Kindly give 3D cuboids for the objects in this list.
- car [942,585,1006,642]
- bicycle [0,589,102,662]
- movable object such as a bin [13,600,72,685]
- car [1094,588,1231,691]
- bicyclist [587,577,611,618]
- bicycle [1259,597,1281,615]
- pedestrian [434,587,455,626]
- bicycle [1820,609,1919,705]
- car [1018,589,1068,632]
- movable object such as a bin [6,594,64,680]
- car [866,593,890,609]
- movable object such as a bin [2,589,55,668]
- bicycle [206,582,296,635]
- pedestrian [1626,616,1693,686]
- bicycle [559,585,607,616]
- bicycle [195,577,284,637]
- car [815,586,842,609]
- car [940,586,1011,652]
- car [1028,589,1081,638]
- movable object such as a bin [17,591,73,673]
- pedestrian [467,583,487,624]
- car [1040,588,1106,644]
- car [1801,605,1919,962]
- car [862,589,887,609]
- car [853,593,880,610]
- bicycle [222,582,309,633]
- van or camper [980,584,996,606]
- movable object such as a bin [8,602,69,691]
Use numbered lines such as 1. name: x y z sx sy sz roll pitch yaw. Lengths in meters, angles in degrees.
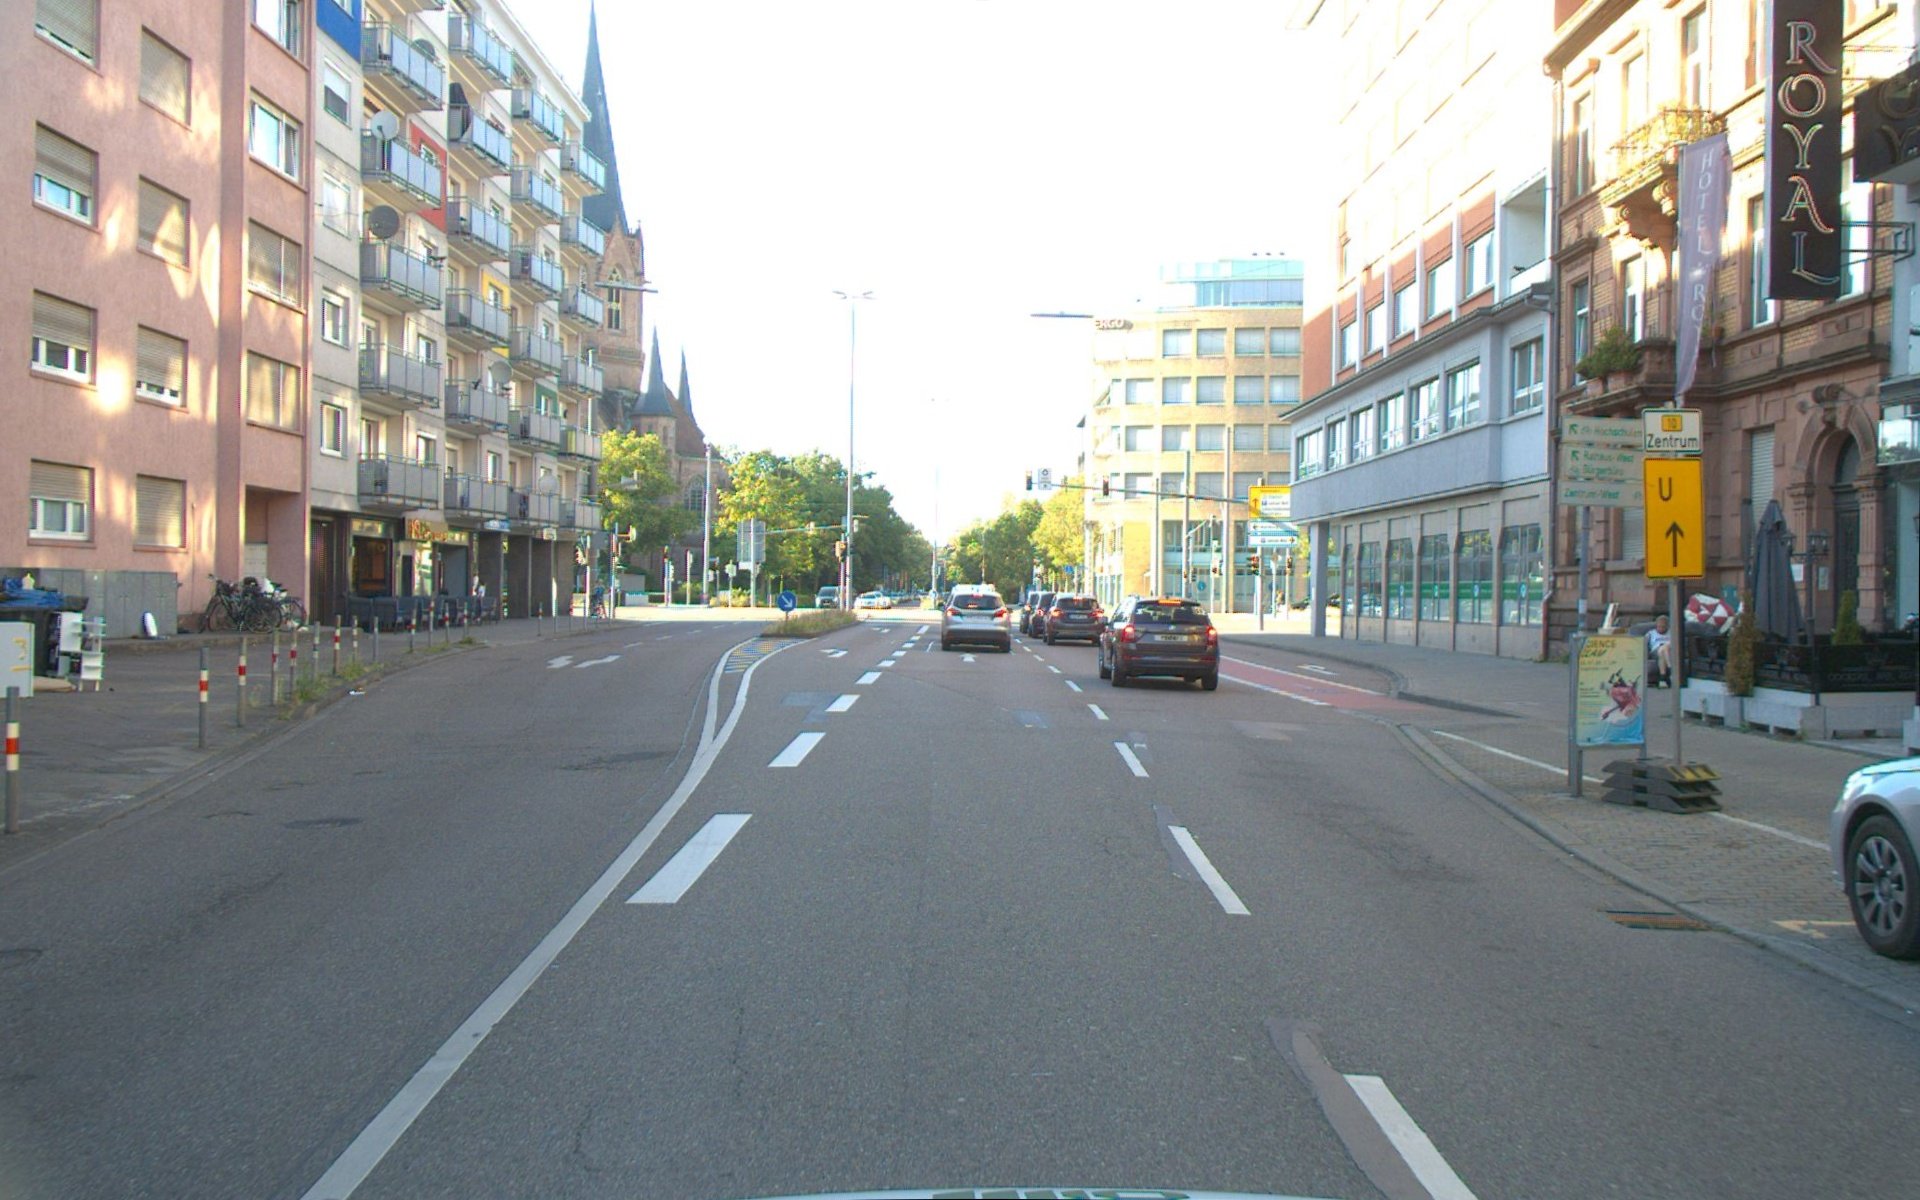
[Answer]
1. car: 0.377 0.364 48.286 1.767 1.596 3.618 0 1 -1
2. bicycle: -14.919 0.406 26.757 1.616 0.983 0.662 6 0 -2
3. movable object such as a bin: -12.129 0.561 21.861 0.633 1.086 0.621 3 -1 -31
4. car: 3.280 0.594 27.506 1.673 1.482 4.158 3 0 0
5. bicyclist: -14.939 -0.096 68.426 0.766 1.689 0.901 1 0 0
6. bicycle: 21.561 0.415 115.077 1.487 1.193 0.475 1 0 7
7. pedestrian: -16.745 0.208 53.709 0.516 1.224 0.547 0 0 -32
8. bicycle: 11.640 0.713 20.940 1.399 1.130 0.486 -2 1 -18
9. car: 3.009 0.364 60.453 1.552 1.472 3.647 2 0 0
10. movable object such as a bin: -12.553 0.504 22.444 0.633 1.130 0.578 3 -1 -31
11. car: -6.956 0.088 140.668 1.743 1.257 4.000 1 1 0
12. movable object such as a bin: -13.869 0.424 24.616 0.633 1.130 0.578 3 -1 -31
13. bicycle: -15.065 0.186 35.173 1.638 1.059 0.548 2 0 -8
14. pedestrian: 11.008 0.790 26.039 0.676 1.061 0.945 1 0 3
15. bicycle: -15.447 0.017 67.728 1.790 1.209 0.734 1 0 -2
16. bicycle: -14.964 0.149 34.368 1.649 1.180 0.492 2 -1 -27
17. car: -10.128 -0.211 127.360 1.743 1.676 4.000 1 1 0
18. car: 0.372 0.445 42.450 1.672 1.536 4.309 2 1 0
19. car: 3.106 0.425 54.831 1.459 1.532 3.478 1 0 -1
20. movable object such as a bin: -13.080 0.454 23.635 0.633 1.130 0.578 3 -1 -31
21. pedestrian: -16.975 0.120 58.164 0.473 1.408 0.481 1 0 20
22. car: 3.304 0.441 48.922 1.617 1.510 4.239 2 0 0
23. car: 5.063 0.808 5.826 1.817 1.539 4.835 -1 0 1
24. car: -6.897 -0.086 133.404 1.743 1.490 4.000 1 1 0
25. car: -7.161 0.082 126.829 1.743 1.257 4.000 1 1 0
26. bicycle: -15.107 0.164 36.001 1.642 1.059 0.547 2 0 -15
27. van or camper: 3.550 -0.635 206.575 1.952 2.686 5.351 1 0 1
28. movable object such as a bin: -11.845 0.593 21.262 0.633 1.102 0.578 3 -1 -31
